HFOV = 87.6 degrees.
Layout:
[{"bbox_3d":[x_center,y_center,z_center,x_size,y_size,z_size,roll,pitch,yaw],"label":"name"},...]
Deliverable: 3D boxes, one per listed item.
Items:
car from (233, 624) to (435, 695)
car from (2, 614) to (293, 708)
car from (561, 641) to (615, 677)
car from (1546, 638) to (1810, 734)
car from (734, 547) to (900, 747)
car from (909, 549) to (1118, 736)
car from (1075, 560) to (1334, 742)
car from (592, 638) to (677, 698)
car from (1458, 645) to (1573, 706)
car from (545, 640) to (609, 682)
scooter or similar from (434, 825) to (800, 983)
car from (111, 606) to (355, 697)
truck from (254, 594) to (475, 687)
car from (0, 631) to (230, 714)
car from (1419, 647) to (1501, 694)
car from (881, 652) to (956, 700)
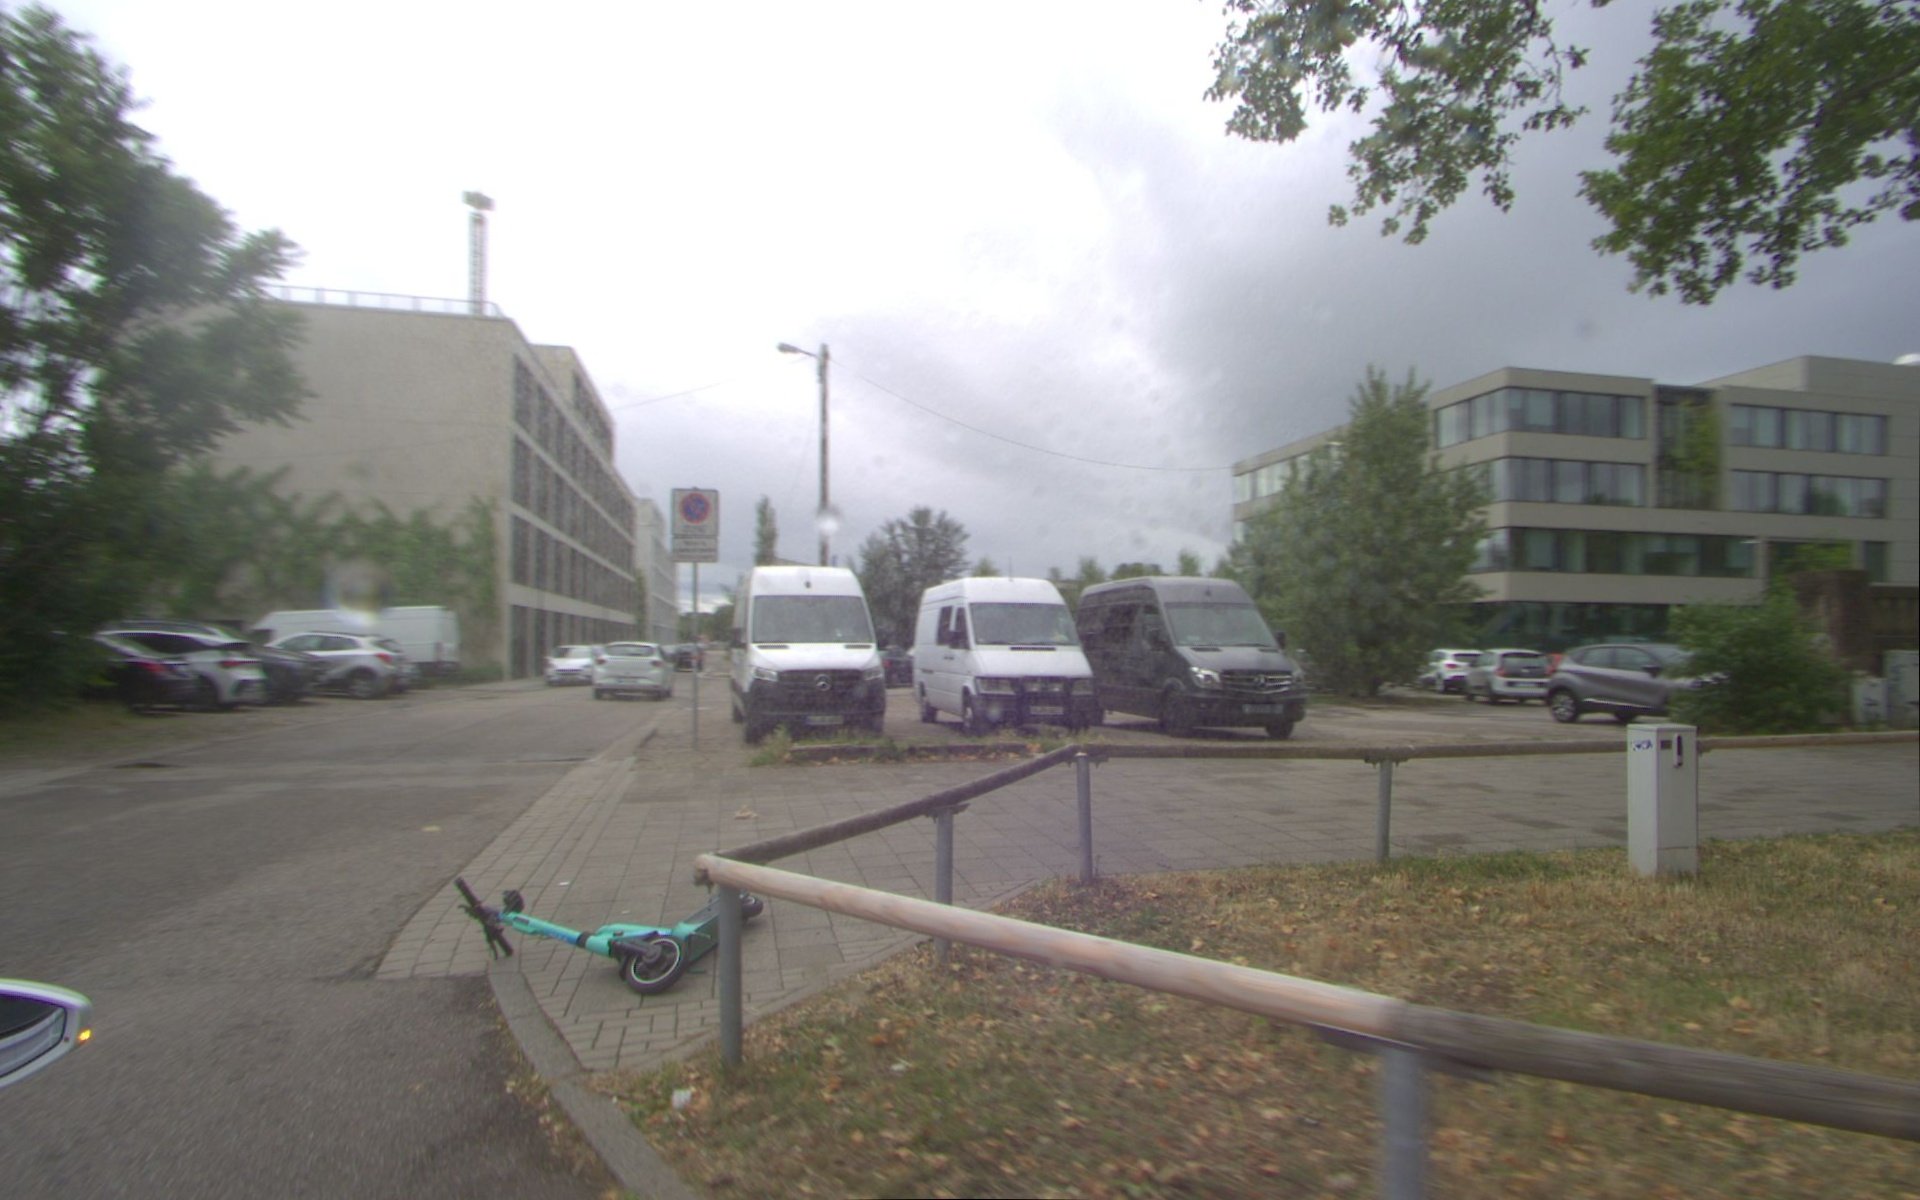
[{"bbox_3d":[-15.900,1.533,25.683,3.928,1.665,1.890,2,-3,-15],"label":"car"},{"bbox_3d":[-15.751,1.211,19.665,3.928,1.665,1.890,2,-3,-15],"label":"car"},{"bbox_3d":[-16.391,2.573,44.256,1.857,1.471,3.995,0,-2,-15],"label":"car"},{"bbox_3d":[13.201,1.524,18.716,1.719,1.599,3.776,1,-3,-14],"label":"car"},{"bbox_3d":[-2.520,0.710,16.122,2.062,2.588,6.038,0,-2,-14],"label":"car"},{"bbox_3d":[0.615,0.787,16.788,2.002,2.566,5.804,0,-4,-13],"label":"car"},{"bbox_3d":[3.830,0.939,17.095,2.130,2.552,5.806,1,-4,-10],"label":"car"},{"bbox_3d":[-8.717,1.766,27.120,1.857,1.471,3.997,0,-2,-13],"label":"car"},{"bbox_3d":[15.915,2.115,28.916,1.963,1.572,3.997,0,-2,15],"label":"car"},{"bbox_3d":[-14.575,2.297,38.281,1.857,1.471,3.995,0,-2,-15],"label":"car"},{"bbox_3d":[-1.625,1.457,4.975,1.306,0.354,1.180,0,0,12],"label":"scooter or similar"},{"bbox_3d":[-16.053,1.159,22.356,3.927,1.903,1.890,1,-2,-14],"label":"car"},{"bbox_3d":[-19.300,1.346,32.728,5.747,2.762,2.054,2,-2,-9],"label":"truck"},{"bbox_3d":[-15.399,1.256,17.381,3.928,1.365,1.891,1,-4,-15],"label":"car"},{"bbox_3d":[18.518,2.574,37.282,1.963,1.572,3.997,0,-2,15],"label":"car"},{"bbox_3d":[-1.493,2.555,34.368,1.857,1.471,3.997,0,-2,-13],"label":"car"}]
